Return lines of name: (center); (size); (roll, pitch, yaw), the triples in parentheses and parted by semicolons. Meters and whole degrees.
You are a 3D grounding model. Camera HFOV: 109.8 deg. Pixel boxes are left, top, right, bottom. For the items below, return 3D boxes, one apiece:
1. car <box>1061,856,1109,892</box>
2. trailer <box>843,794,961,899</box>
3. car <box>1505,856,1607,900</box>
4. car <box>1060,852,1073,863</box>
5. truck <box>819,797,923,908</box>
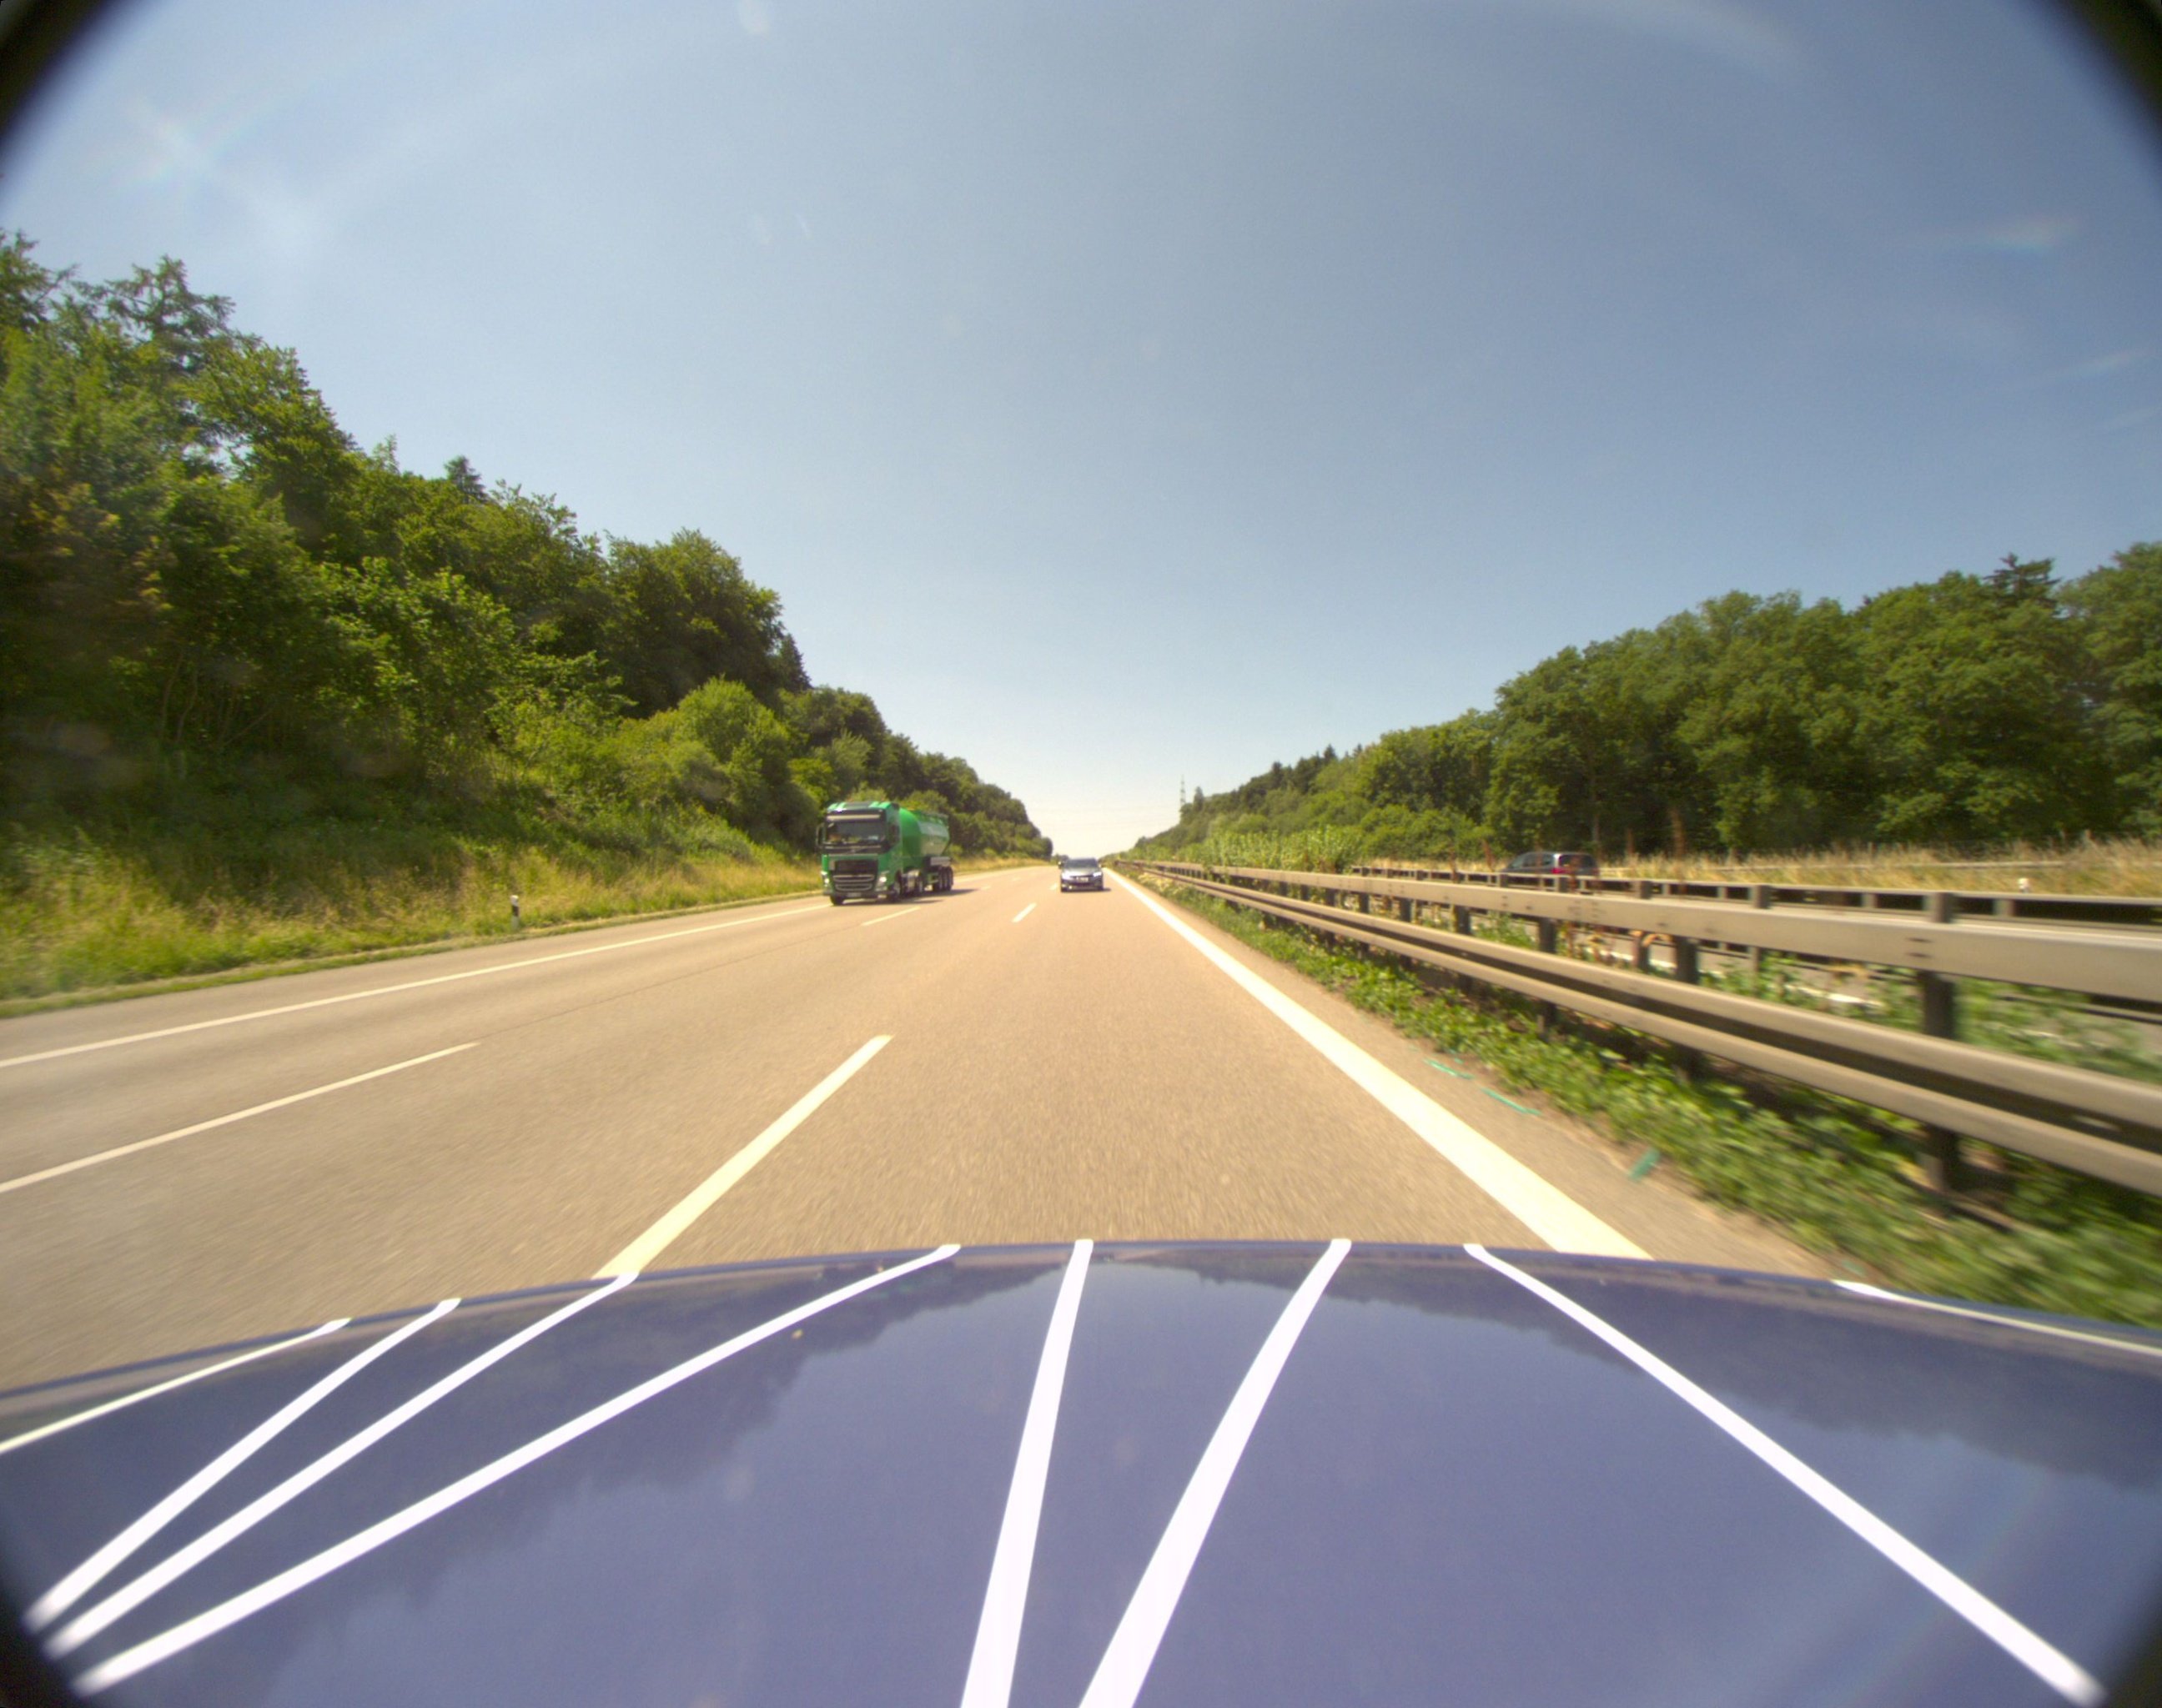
car: (0.234, 0.845, 33.268); (1.767, 1.400, 4.001); (-2, 0, 5)
trailer: (-7.774, -0.246, 34.675); (2.594, 4.004, 10.471); (-2, 0, 1)
car: (18.140, 0.869, 29.210); (1.562, 1.541, 3.695); (-2, 0, 0)
car: (-2.122, 0.513, 111.988); (1.788, 1.550, 3.943); (-2, 0, -1)
truck: (-7.866, -0.037, 29.056); (2.516, 3.819, 4.892); (-2, 0, -1)
